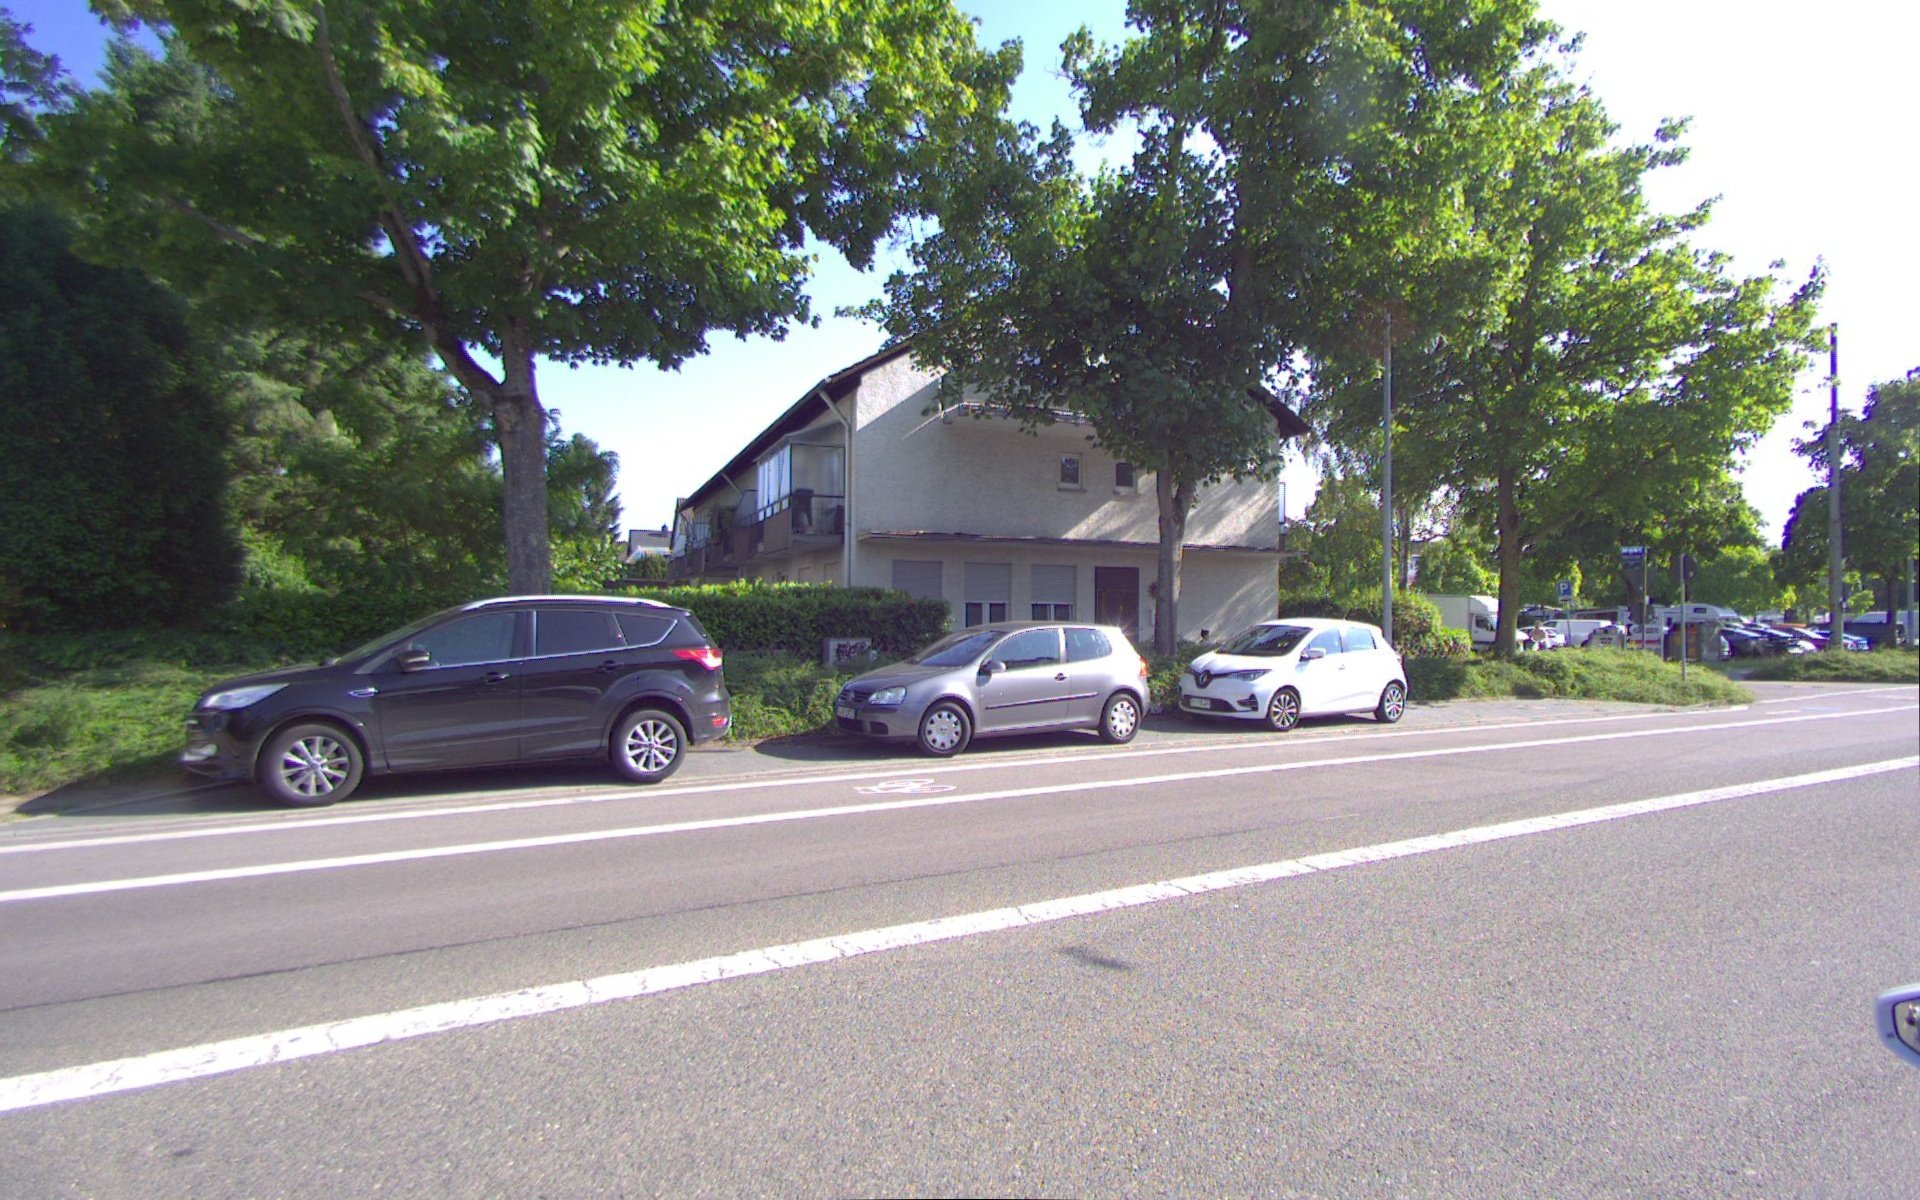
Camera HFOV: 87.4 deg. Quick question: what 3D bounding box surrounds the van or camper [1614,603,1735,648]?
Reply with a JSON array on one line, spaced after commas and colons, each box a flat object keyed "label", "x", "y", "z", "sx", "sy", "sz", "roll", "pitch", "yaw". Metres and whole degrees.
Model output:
[{"label": "van or camper", "x": 48.765, "y": 1.680, "z": 68.724, "sx": 2.279, "sy": 2.906, "sz": 6.436, "roll": 1, "pitch": -1, "yaw": -29}]

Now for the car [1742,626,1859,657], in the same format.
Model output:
[{"label": "car", "x": 39.979, "y": 1.943, "z": 47.863, "sx": 1.719, "sy": 1.416, "sz": 3.964, "roll": 1, "pitch": -1, "yaw": -33}]

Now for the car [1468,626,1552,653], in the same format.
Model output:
[{"label": "car", "x": 31.863, "y": 2.243, "z": 58.240, "sx": 1.719, "sy": 1.477, "sz": 3.964, "roll": 1, "pitch": -1, "yaw": -33}]

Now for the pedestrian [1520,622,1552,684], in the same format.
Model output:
[{"label": "pedestrian", "x": 15.617, "y": 1.423, "z": 27.218, "sx": 0.603, "sy": 1.649, "sz": 0.522, "roll": 1, "pitch": -1, "yaw": -30}]

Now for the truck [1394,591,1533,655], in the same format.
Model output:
[{"label": "truck", "x": 27.685, "y": 1.251, "z": 55.587, "sx": 1.965, "sy": 3.285, "sz": 6.926, "roll": 1, "pitch": -1, "yaw": -31}]

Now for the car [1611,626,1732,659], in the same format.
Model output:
[{"label": "car", "x": 30.616, "y": 1.779, "z": 43.326, "sx": 1.719, "sy": 1.324, "sz": 3.964, "roll": 1, "pitch": -1, "yaw": -33}]

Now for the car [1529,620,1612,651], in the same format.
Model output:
[{"label": "car", "x": 36.533, "y": 2.104, "z": 60.208, "sx": 1.611, "sy": 1.751, "sz": 3.959, "roll": 1, "pitch": -1, "yaw": -36}]

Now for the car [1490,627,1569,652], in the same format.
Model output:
[{"label": "car", "x": 34.016, "y": 2.342, "z": 60.120, "sx": 1.604, "sy": 1.379, "sz": 3.976, "roll": 1, "pitch": -1, "yaw": -24}]

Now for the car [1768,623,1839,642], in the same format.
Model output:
[{"label": "car", "x": 66.092, "y": 2.521, "z": 78.727, "sx": 1.719, "sy": 1.416, "sz": 3.964, "roll": 1, "pitch": -1, "yaw": -33}]

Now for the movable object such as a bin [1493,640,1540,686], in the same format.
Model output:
[{"label": "movable object such as a bin", "x": 14.817, "y": 1.664, "z": 26.753, "sx": 1.246, "sy": 1.161, "sz": 0.539, "roll": 1, "pitch": -1, "yaw": -30}]

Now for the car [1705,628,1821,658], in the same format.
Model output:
[{"label": "car", "x": 37.763, "y": 2.004, "z": 47.320, "sx": 1.719, "sy": 1.324, "sz": 3.964, "roll": 1, "pitch": -1, "yaw": -33}]

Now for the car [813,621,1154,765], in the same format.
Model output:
[{"label": "car", "x": 0.353, "y": 1.020, "z": 12.282, "sx": 3.925, "sy": 1.488, "sz": 1.667, "roll": 1, "pitch": -1, "yaw": -33}]

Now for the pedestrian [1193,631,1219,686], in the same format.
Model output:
[{"label": "pedestrian", "x": 5.378, "y": 1.263, "z": 21.934, "sx": 0.440, "sy": 1.177, "sz": 0.345, "roll": 1, "pitch": -1, "yaw": -22}]

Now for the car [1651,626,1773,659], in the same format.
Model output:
[{"label": "car", "x": 32.922, "y": 1.827, "z": 44.082, "sx": 1.719, "sy": 1.324, "sz": 3.964, "roll": 1, "pitch": -1, "yaw": -33}]

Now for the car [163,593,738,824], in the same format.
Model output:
[{"label": "car", "x": -4.446, "y": 0.844, "z": 9.319, "sx": 4.370, "sy": 1.716, "sz": 1.704, "roll": 1, "pitch": -1, "yaw": -30}]

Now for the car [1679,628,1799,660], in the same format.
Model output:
[{"label": "car", "x": 35.115, "y": 1.947, "z": 45.396, "sx": 1.719, "sy": 1.324, "sz": 3.964, "roll": 1, "pitch": -1, "yaw": -33}]

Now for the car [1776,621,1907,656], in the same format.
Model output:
[{"label": "car", "x": 44.425, "y": 1.909, "z": 50.734, "sx": 2.026, "sy": 1.673, "sz": 4.594, "roll": 1, "pitch": -1, "yaw": -31}]

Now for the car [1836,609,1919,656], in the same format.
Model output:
[{"label": "car", "x": 51.354, "y": 1.751, "z": 54.525, "sx": 2.062, "sy": 2.455, "sz": 5.351, "roll": 1, "pitch": -1, "yaw": -29}]

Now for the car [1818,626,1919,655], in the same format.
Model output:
[{"label": "car", "x": 48.209, "y": 2.111, "z": 53.135, "sx": 1.719, "sy": 1.416, "sz": 3.964, "roll": 1, "pitch": -1, "yaw": -33}]

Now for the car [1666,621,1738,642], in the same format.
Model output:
[{"label": "car", "x": 51.648, "y": 2.204, "z": 69.969, "sx": 1.719, "sy": 1.416, "sz": 3.642, "roll": 1, "pitch": -1, "yaw": -33}]

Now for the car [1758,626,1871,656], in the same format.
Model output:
[{"label": "car", "x": 42.257, "y": 1.997, "z": 49.774, "sx": 1.719, "sy": 1.416, "sz": 3.964, "roll": 1, "pitch": -1, "yaw": -33}]

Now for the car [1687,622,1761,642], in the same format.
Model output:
[{"label": "car", "x": 55.683, "y": 2.312, "z": 73.225, "sx": 1.719, "sy": 1.416, "sz": 3.964, "roll": 1, "pitch": -1, "yaw": -33}]

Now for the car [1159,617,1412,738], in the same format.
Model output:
[{"label": "car", "x": 4.972, "y": 1.080, "z": 15.194, "sx": 3.854, "sy": 1.571, "sz": 1.591, "roll": 1, "pitch": 1, "yaw": -34}]

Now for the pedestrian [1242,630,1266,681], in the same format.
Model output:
[{"label": "pedestrian", "x": 7.234, "y": 1.351, "z": 24.708, "sx": 0.385, "sy": 1.233, "sz": 0.444, "roll": 1, "pitch": -1, "yaw": -22}]
